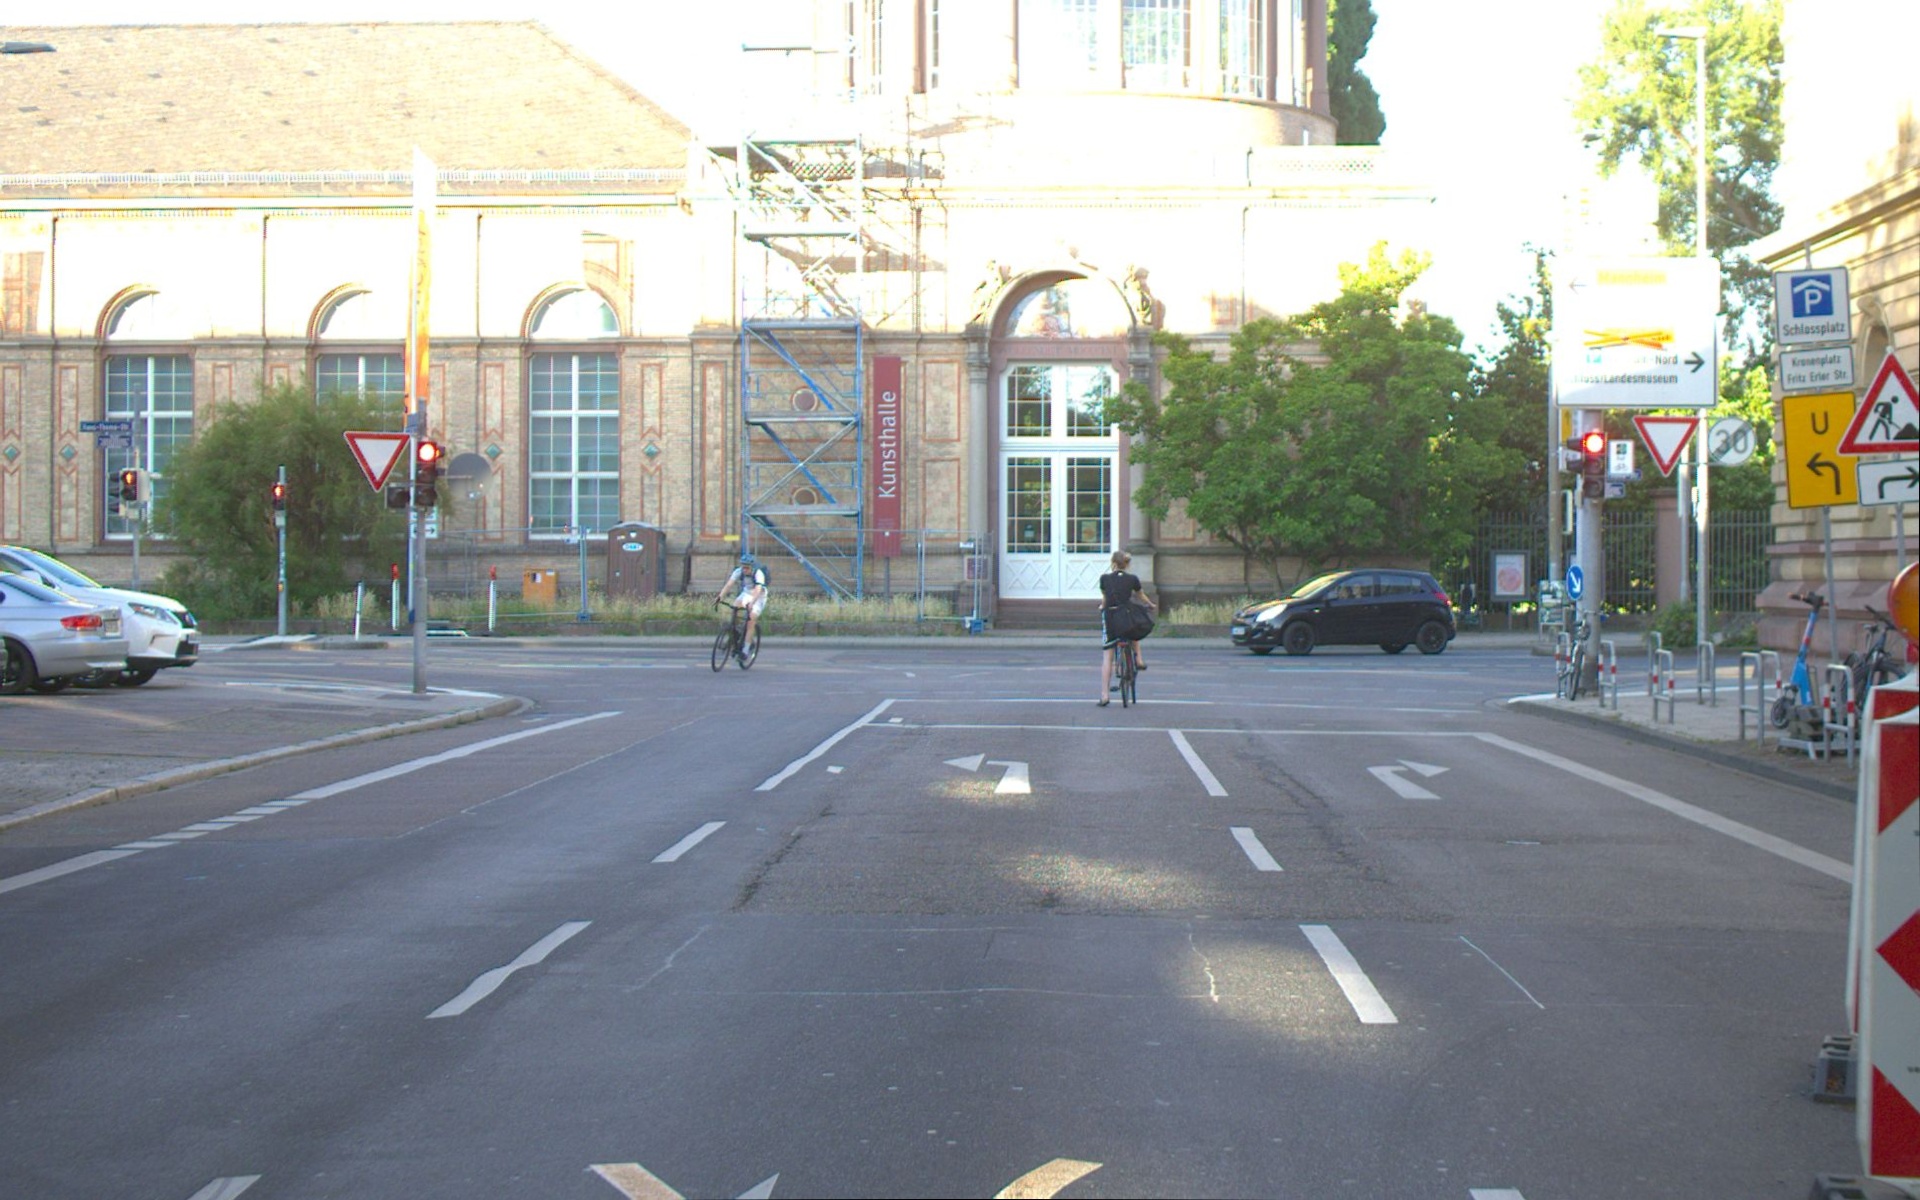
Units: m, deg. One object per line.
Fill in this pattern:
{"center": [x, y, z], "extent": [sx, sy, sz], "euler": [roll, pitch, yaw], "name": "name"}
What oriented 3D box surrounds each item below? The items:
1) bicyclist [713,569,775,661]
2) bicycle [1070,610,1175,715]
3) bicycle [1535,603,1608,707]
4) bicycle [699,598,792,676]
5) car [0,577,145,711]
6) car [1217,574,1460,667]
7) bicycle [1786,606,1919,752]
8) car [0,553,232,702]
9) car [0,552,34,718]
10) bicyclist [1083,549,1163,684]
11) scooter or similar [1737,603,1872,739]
{"center": [-3.235, 0.229, 51.542], "extent": [0.625, 1.360, 0.928], "euler": [0, -1, 19], "name": "bicyclist"}
{"center": [1.842, 0.697, 38.647], "extent": [0.712, 1.152, 2.067], "euler": [0, -1, 16], "name": "bicycle"}
{"center": [7.125, 0.635, 40.116], "extent": [0.582, 1.184, 1.920], "euler": [0, -1, 2], "name": "bicycle"}
{"center": [-3.211, 0.562, 51.608], "extent": [0.625, 1.152, 2.050], "euler": [-1, -1, 20], "name": "bicycle"}
{"center": [-11.308, 0.427, 37.746], "extent": [4.266, 1.376, 1.736], "euler": [2, 1, 1], "name": "car"}
{"center": [6.546, 0.332, 59.570], "extent": [3.840, 1.466, 1.664], "euler": [-1, 1, -10], "name": "car"}
{"center": [7.656, 0.651, 29.208], "extent": [0.827, 1.130, 1.944], "euler": [-3, 1, 2], "name": "bicycle"}
{"center": [-11.022, 0.279, 40.474], "extent": [4.440, 1.635, 1.942], "euler": [2, 1, 1], "name": "car"}
{"center": [-11.496, 0.288, 33.461], "extent": [4.418, 1.599, 1.916], "euler": [2, 1, 1], "name": "car"}
{"center": [1.832, 0.194, 38.623], "extent": [0.716, 1.497, 0.850], "euler": [0, -1, 16], "name": "bicyclist"}
{"center": [7.556, 0.630, 30.789], "extent": [1.130, 1.191, 0.584], "euler": [0, 1, 10], "name": "scooter or similar"}
